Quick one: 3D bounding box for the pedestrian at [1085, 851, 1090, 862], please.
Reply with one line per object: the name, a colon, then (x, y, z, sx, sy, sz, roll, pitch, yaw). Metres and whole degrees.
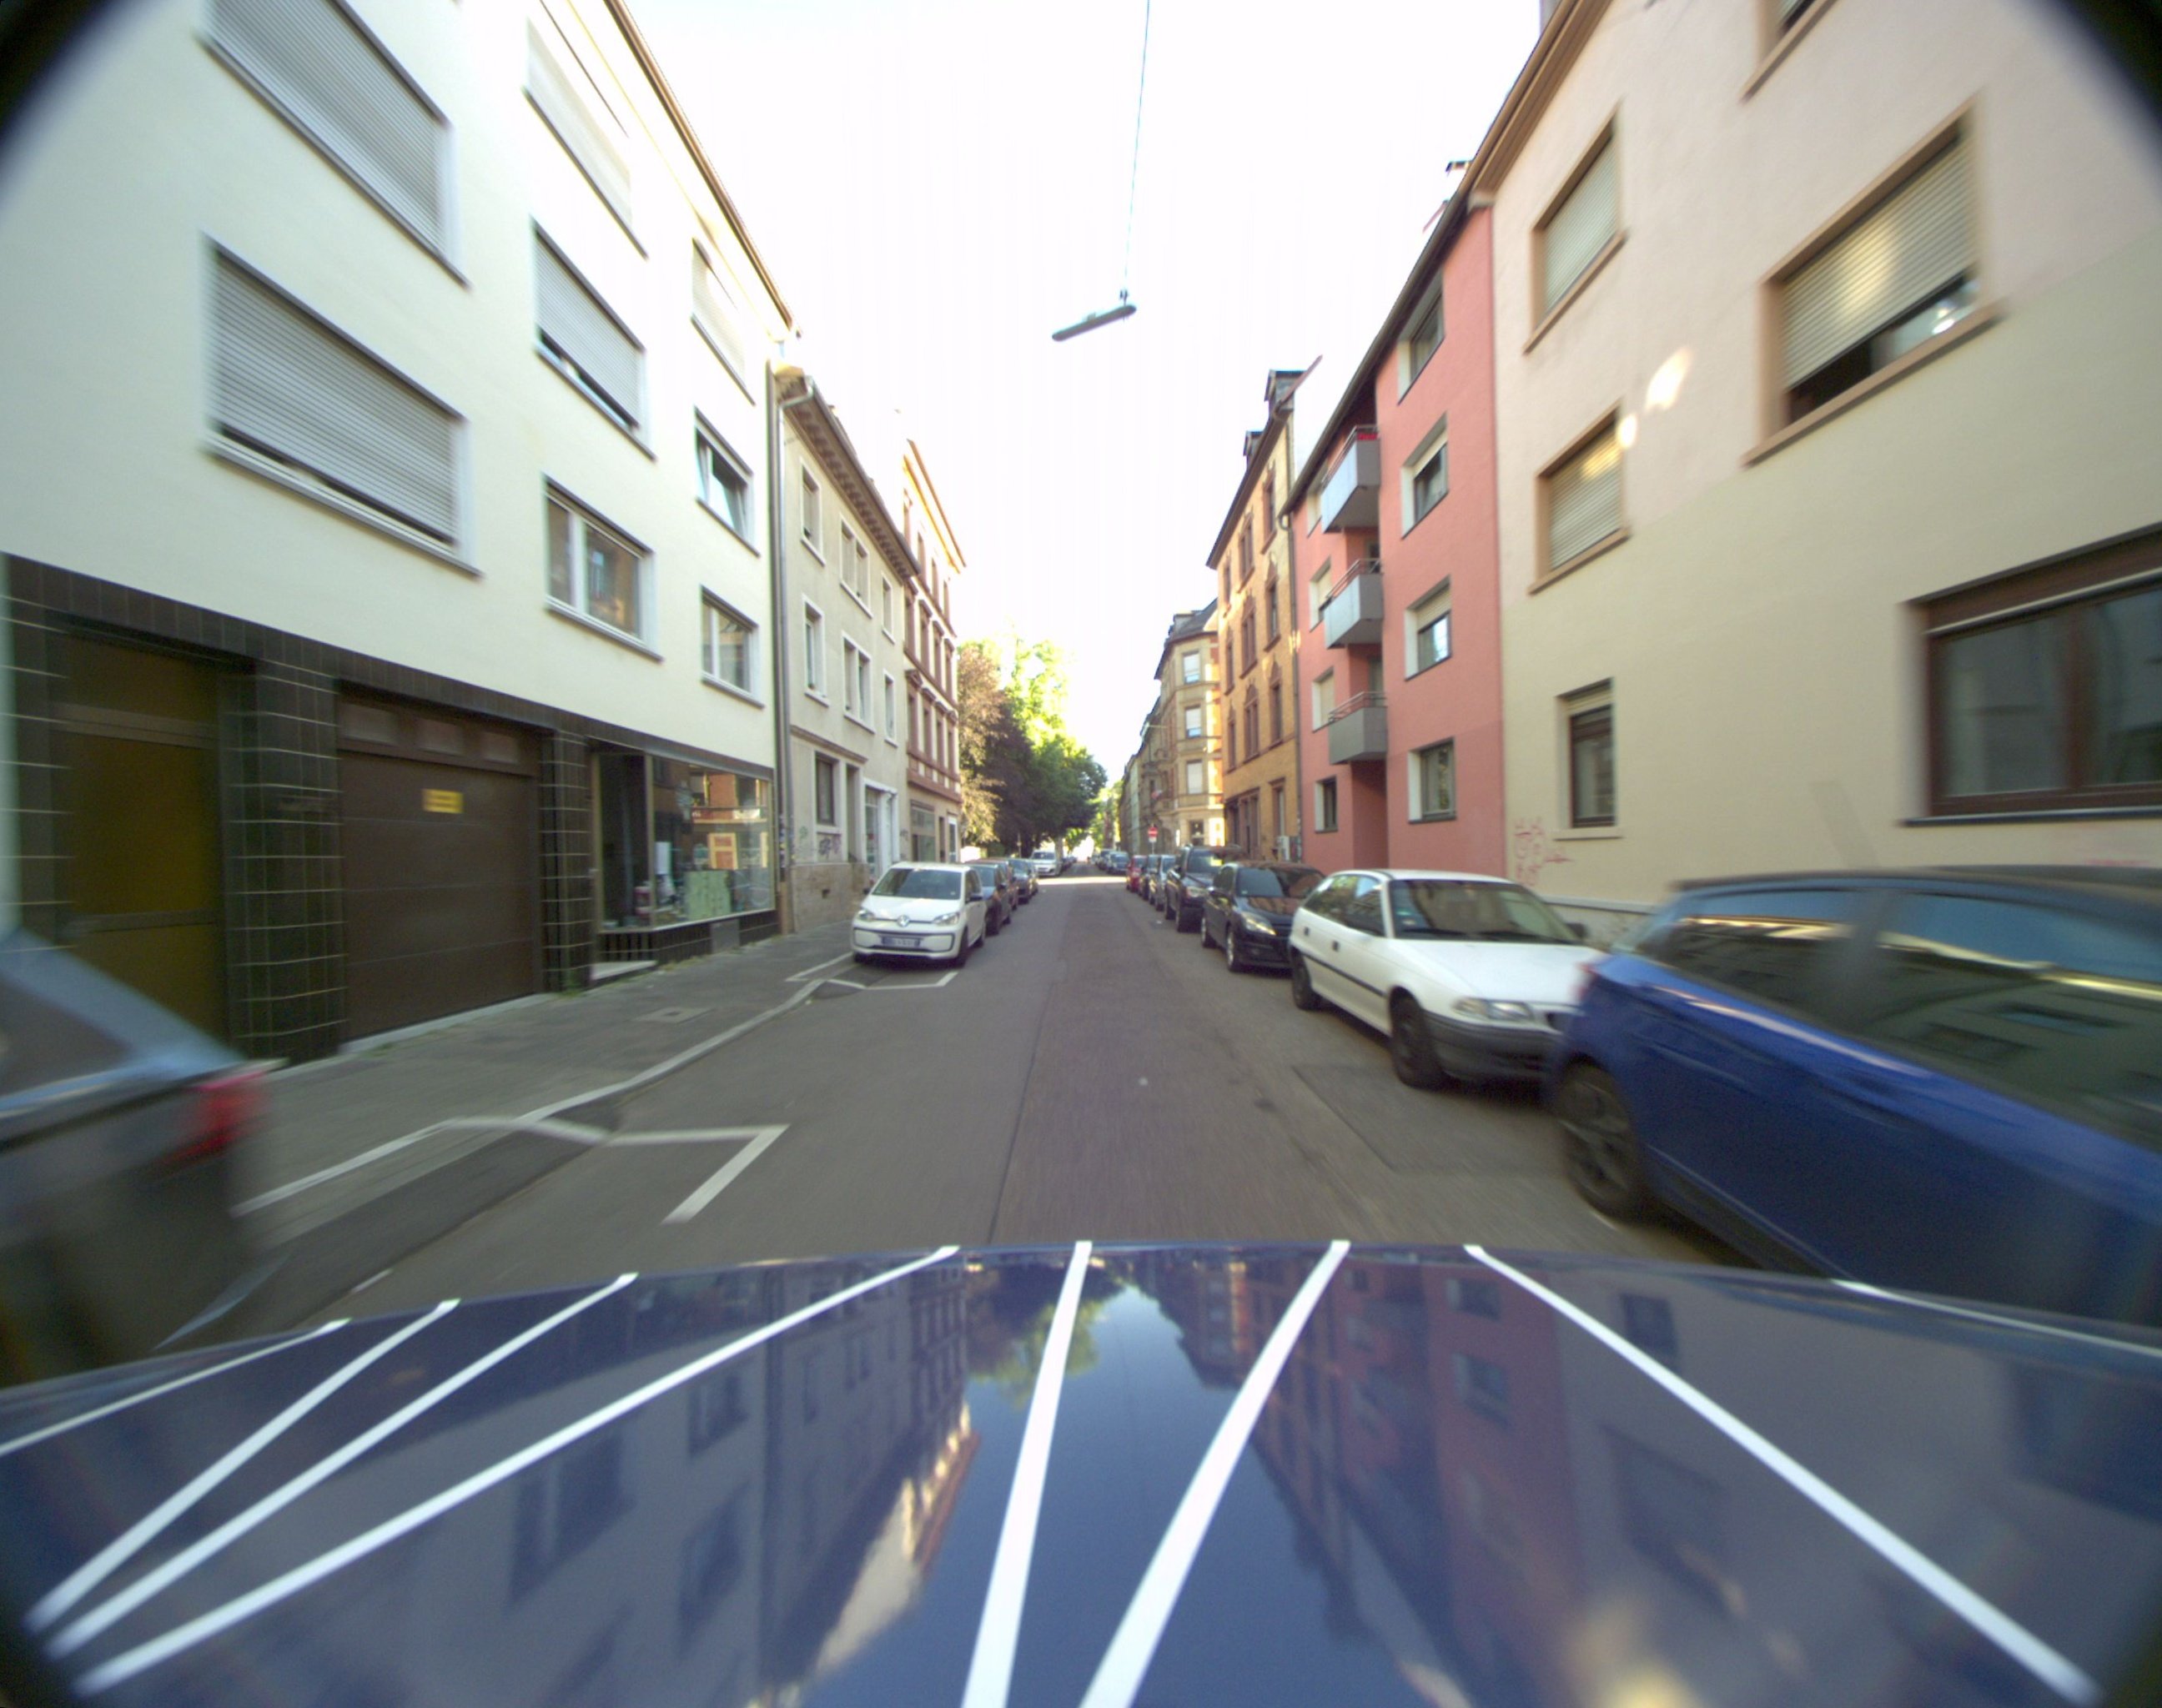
pedestrian: (1.072, 0.429, 125.212, 0.489, 1.793, 1.114, -4, 1, -4)

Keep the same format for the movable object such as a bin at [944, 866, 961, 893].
movable object such as a bin: (-4.866, 0.959, 28.727, 0.515, 1.034, 0.594, 0, 1, 1)

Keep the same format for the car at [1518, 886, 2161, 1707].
car: (2.801, 0.906, 1.688, 1.677, 1.477, 3.993, 0, 0, 6)

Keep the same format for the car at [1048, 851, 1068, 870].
car: (-2.106, 0.601, 70.369, 1.622, 1.615, 3.863, 3, 1, 1)

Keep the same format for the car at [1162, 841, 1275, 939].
car: (2.778, 0.660, 16.319, 1.747, 1.800, 4.672, 0, 0, 2)

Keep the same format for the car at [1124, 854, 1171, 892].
car: (2.691, 0.746, 31.366, 1.632, 1.472, 3.600, 0, 0, 0)

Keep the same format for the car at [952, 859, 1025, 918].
car: (-2.565, 0.907, 21.861, 1.602, 1.498, 4.184, 0, 0, 0)

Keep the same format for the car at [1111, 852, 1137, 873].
car: (3.082, 0.601, 55.291, 1.697, 1.472, 3.972, 0, 0, 0)

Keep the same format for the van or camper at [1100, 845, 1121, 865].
van or camper: (3.163, 0.091, 81.501, 2.182, 2.135, 5.154, 0, 0, 2)

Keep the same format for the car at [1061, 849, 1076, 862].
car: (-1.697, 0.161, 102.253, 1.668, 1.577, 4.100, 3, 1, 2)

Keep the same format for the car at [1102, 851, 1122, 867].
car: (3.079, 0.450, 75.126, 1.771, 1.505, 4.193, 0, 0, 0)

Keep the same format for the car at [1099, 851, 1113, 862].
car: (3.226, 0.323, 98.256, 1.735, 1.447, 4.521, 0, 0, 0)

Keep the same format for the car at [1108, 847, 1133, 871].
car: (3.111, 0.392, 60.696, 1.836, 1.801, 4.571, 0, 0, 0)

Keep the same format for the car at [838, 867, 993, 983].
car: (-2.498, 1.011, 12.394, 1.680, 1.498, 3.937, 0, 0, 0)

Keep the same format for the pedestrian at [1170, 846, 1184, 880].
pedestrian: (4.840, 0.432, 38.260, 0.549, 1.635, 0.717, -2, 3, 0)

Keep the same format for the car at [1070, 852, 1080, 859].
car: (-1.459, 0.426, 186.264, 1.998, 1.659, 4.000, -2, 0, 2)

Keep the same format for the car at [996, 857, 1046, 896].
car: (-2.419, 0.874, 31.661, 1.748, 1.498, 4.357, 0, 0, 0)

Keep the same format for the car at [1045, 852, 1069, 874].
car: (-1.907, 0.690, 59.730, 1.723, 1.562, 3.827, -2, 0, -2)

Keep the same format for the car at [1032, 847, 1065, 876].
car: (-2.276, 0.487, 53.979, 1.919, 1.987, 4.792, 0, 0, 2)

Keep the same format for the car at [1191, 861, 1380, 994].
car: (2.712, 0.881, 11.113, 1.747, 1.498, 4.346, 0, 0, 2)

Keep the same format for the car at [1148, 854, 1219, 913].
car: (2.843, 0.775, 21.779, 1.660, 1.512, 3.944, 0, 0, 2)

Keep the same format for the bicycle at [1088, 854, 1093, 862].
bicycle: (1.595, 0.671, 125.224, 0.572, 1.236, 1.844, -5, 0, -4)

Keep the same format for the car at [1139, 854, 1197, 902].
car: (2.926, 0.757, 26.369, 1.699, 1.512, 4.096, 0, 0, 2)

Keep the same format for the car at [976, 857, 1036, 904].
car: (-2.539, 0.860, 26.464, 1.748, 1.498, 4.020, 0, 0, -1)

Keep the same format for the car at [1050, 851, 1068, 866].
car: (-2.313, 0.445, 80.195, 1.680, 1.433, 4.693, 3, 1, -4)

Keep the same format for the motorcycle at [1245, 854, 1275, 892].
motorcycle: (5.932, 0.609, 25.207, 0.534, 1.199, 1.908, -2, 1, 1)

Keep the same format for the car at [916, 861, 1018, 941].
car: (-2.407, 0.941, 16.862, 1.680, 1.498, 3.937, 0, 0, 0)

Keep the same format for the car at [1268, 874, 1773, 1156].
car: (2.859, 0.920, 6.153, 1.677, 1.380, 4.181, 0, 0, 0)
